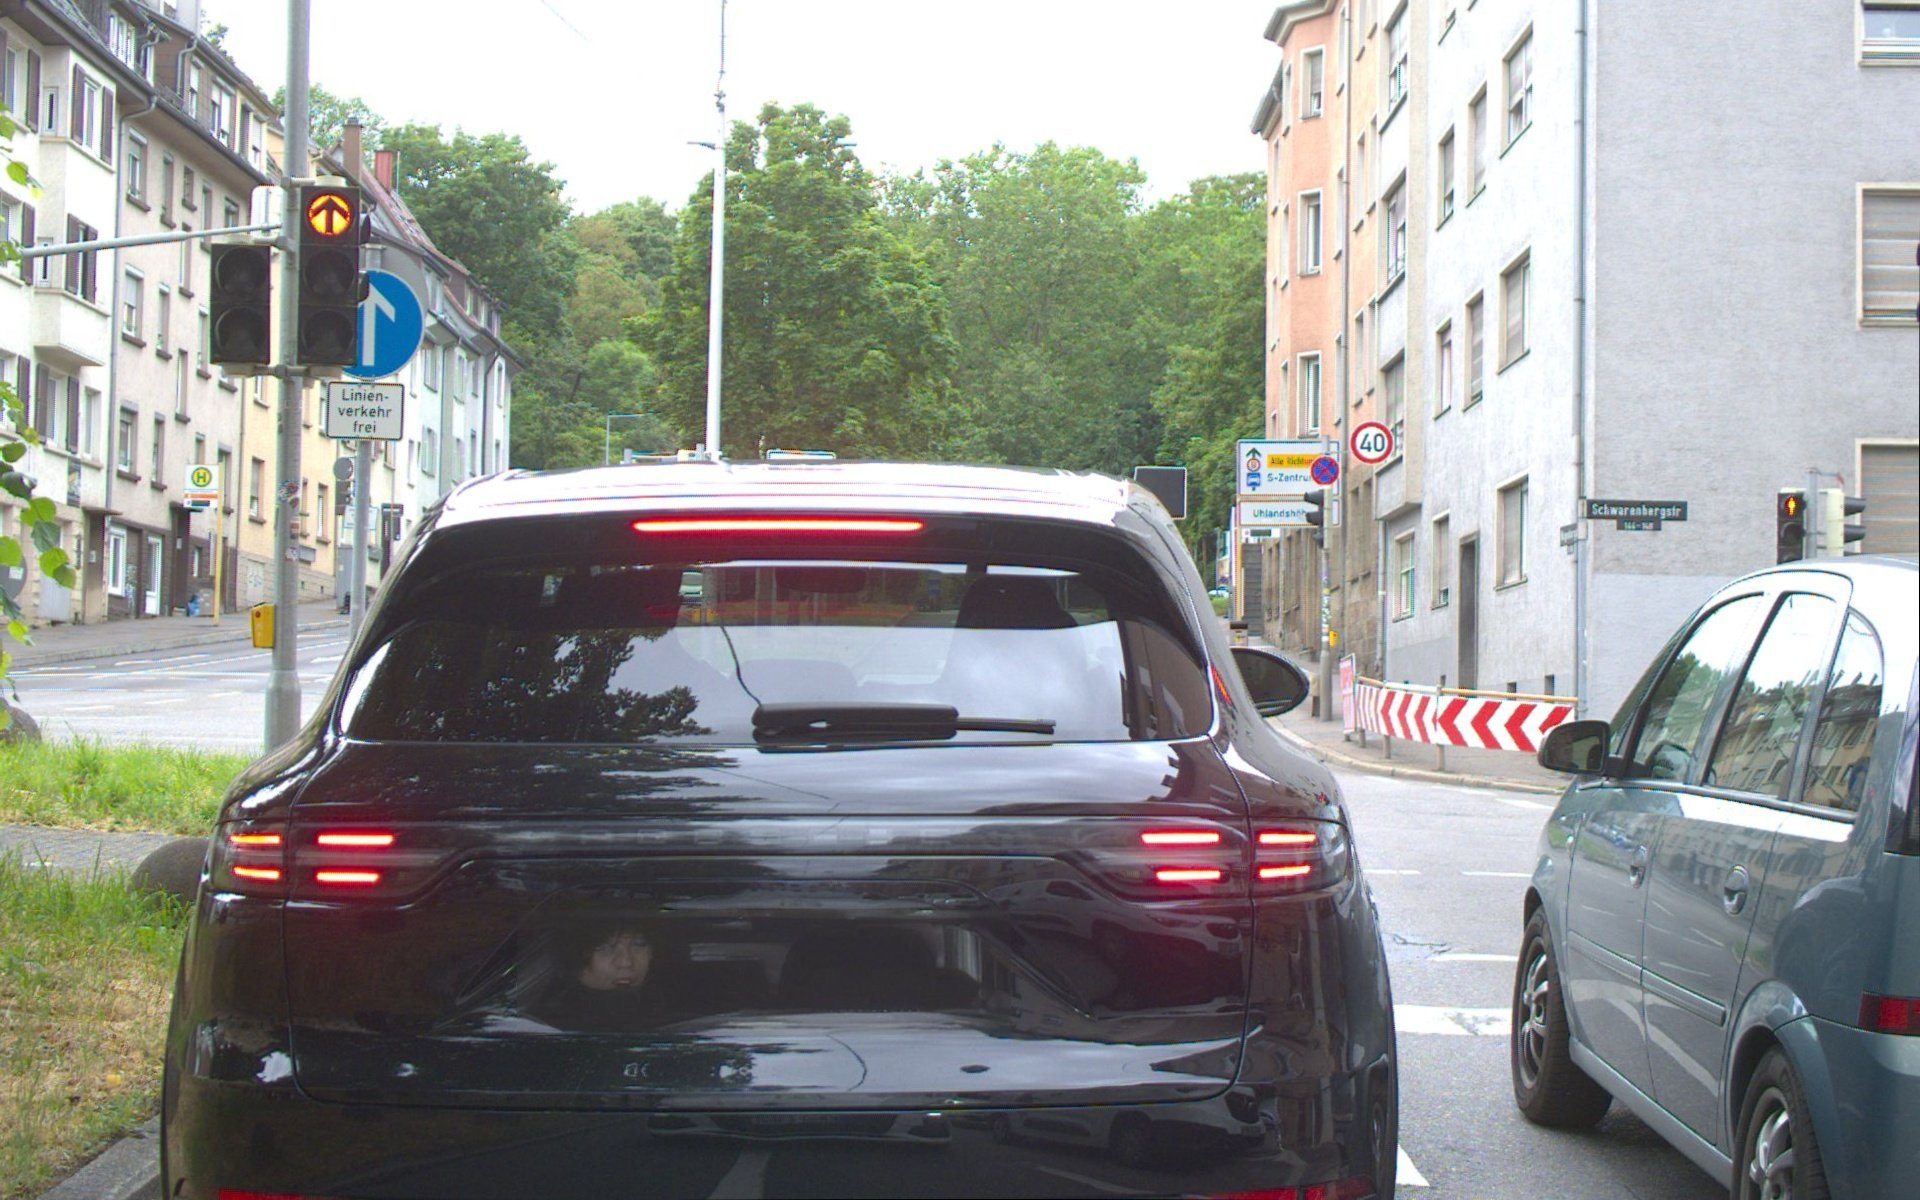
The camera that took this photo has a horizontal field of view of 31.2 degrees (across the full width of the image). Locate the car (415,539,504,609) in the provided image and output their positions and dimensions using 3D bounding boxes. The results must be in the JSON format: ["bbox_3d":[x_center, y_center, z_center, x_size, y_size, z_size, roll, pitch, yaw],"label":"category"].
[{"bbox_3d":[-15.160,-0.795,104.388,2.016,2.038,4.667,1,1,0],"label":"car"}]

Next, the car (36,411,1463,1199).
[{"bbox_3d":[-0.311,0.557,6.718,1.955,1.669,4.000,0,1,-1],"label":"car"}]

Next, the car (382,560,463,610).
[{"bbox_3d":[-15.451,-0.439,98.946,1.739,1.382,3.814,1,1,0],"label":"car"}]

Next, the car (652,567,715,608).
[{"bbox_3d":[-9.600,-0.447,119.494,1.862,1.383,4.094,1,1,0],"label":"car"}]

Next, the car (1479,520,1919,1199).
[{"bbox_3d":[2.353,0.688,7.885,1.628,1.592,3.669,4,1,-1],"label":"car"}]

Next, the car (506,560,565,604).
[{"bbox_3d":[-15.410,-0.665,124.938,1.689,1.533,3.814,1,1,0],"label":"car"}]
